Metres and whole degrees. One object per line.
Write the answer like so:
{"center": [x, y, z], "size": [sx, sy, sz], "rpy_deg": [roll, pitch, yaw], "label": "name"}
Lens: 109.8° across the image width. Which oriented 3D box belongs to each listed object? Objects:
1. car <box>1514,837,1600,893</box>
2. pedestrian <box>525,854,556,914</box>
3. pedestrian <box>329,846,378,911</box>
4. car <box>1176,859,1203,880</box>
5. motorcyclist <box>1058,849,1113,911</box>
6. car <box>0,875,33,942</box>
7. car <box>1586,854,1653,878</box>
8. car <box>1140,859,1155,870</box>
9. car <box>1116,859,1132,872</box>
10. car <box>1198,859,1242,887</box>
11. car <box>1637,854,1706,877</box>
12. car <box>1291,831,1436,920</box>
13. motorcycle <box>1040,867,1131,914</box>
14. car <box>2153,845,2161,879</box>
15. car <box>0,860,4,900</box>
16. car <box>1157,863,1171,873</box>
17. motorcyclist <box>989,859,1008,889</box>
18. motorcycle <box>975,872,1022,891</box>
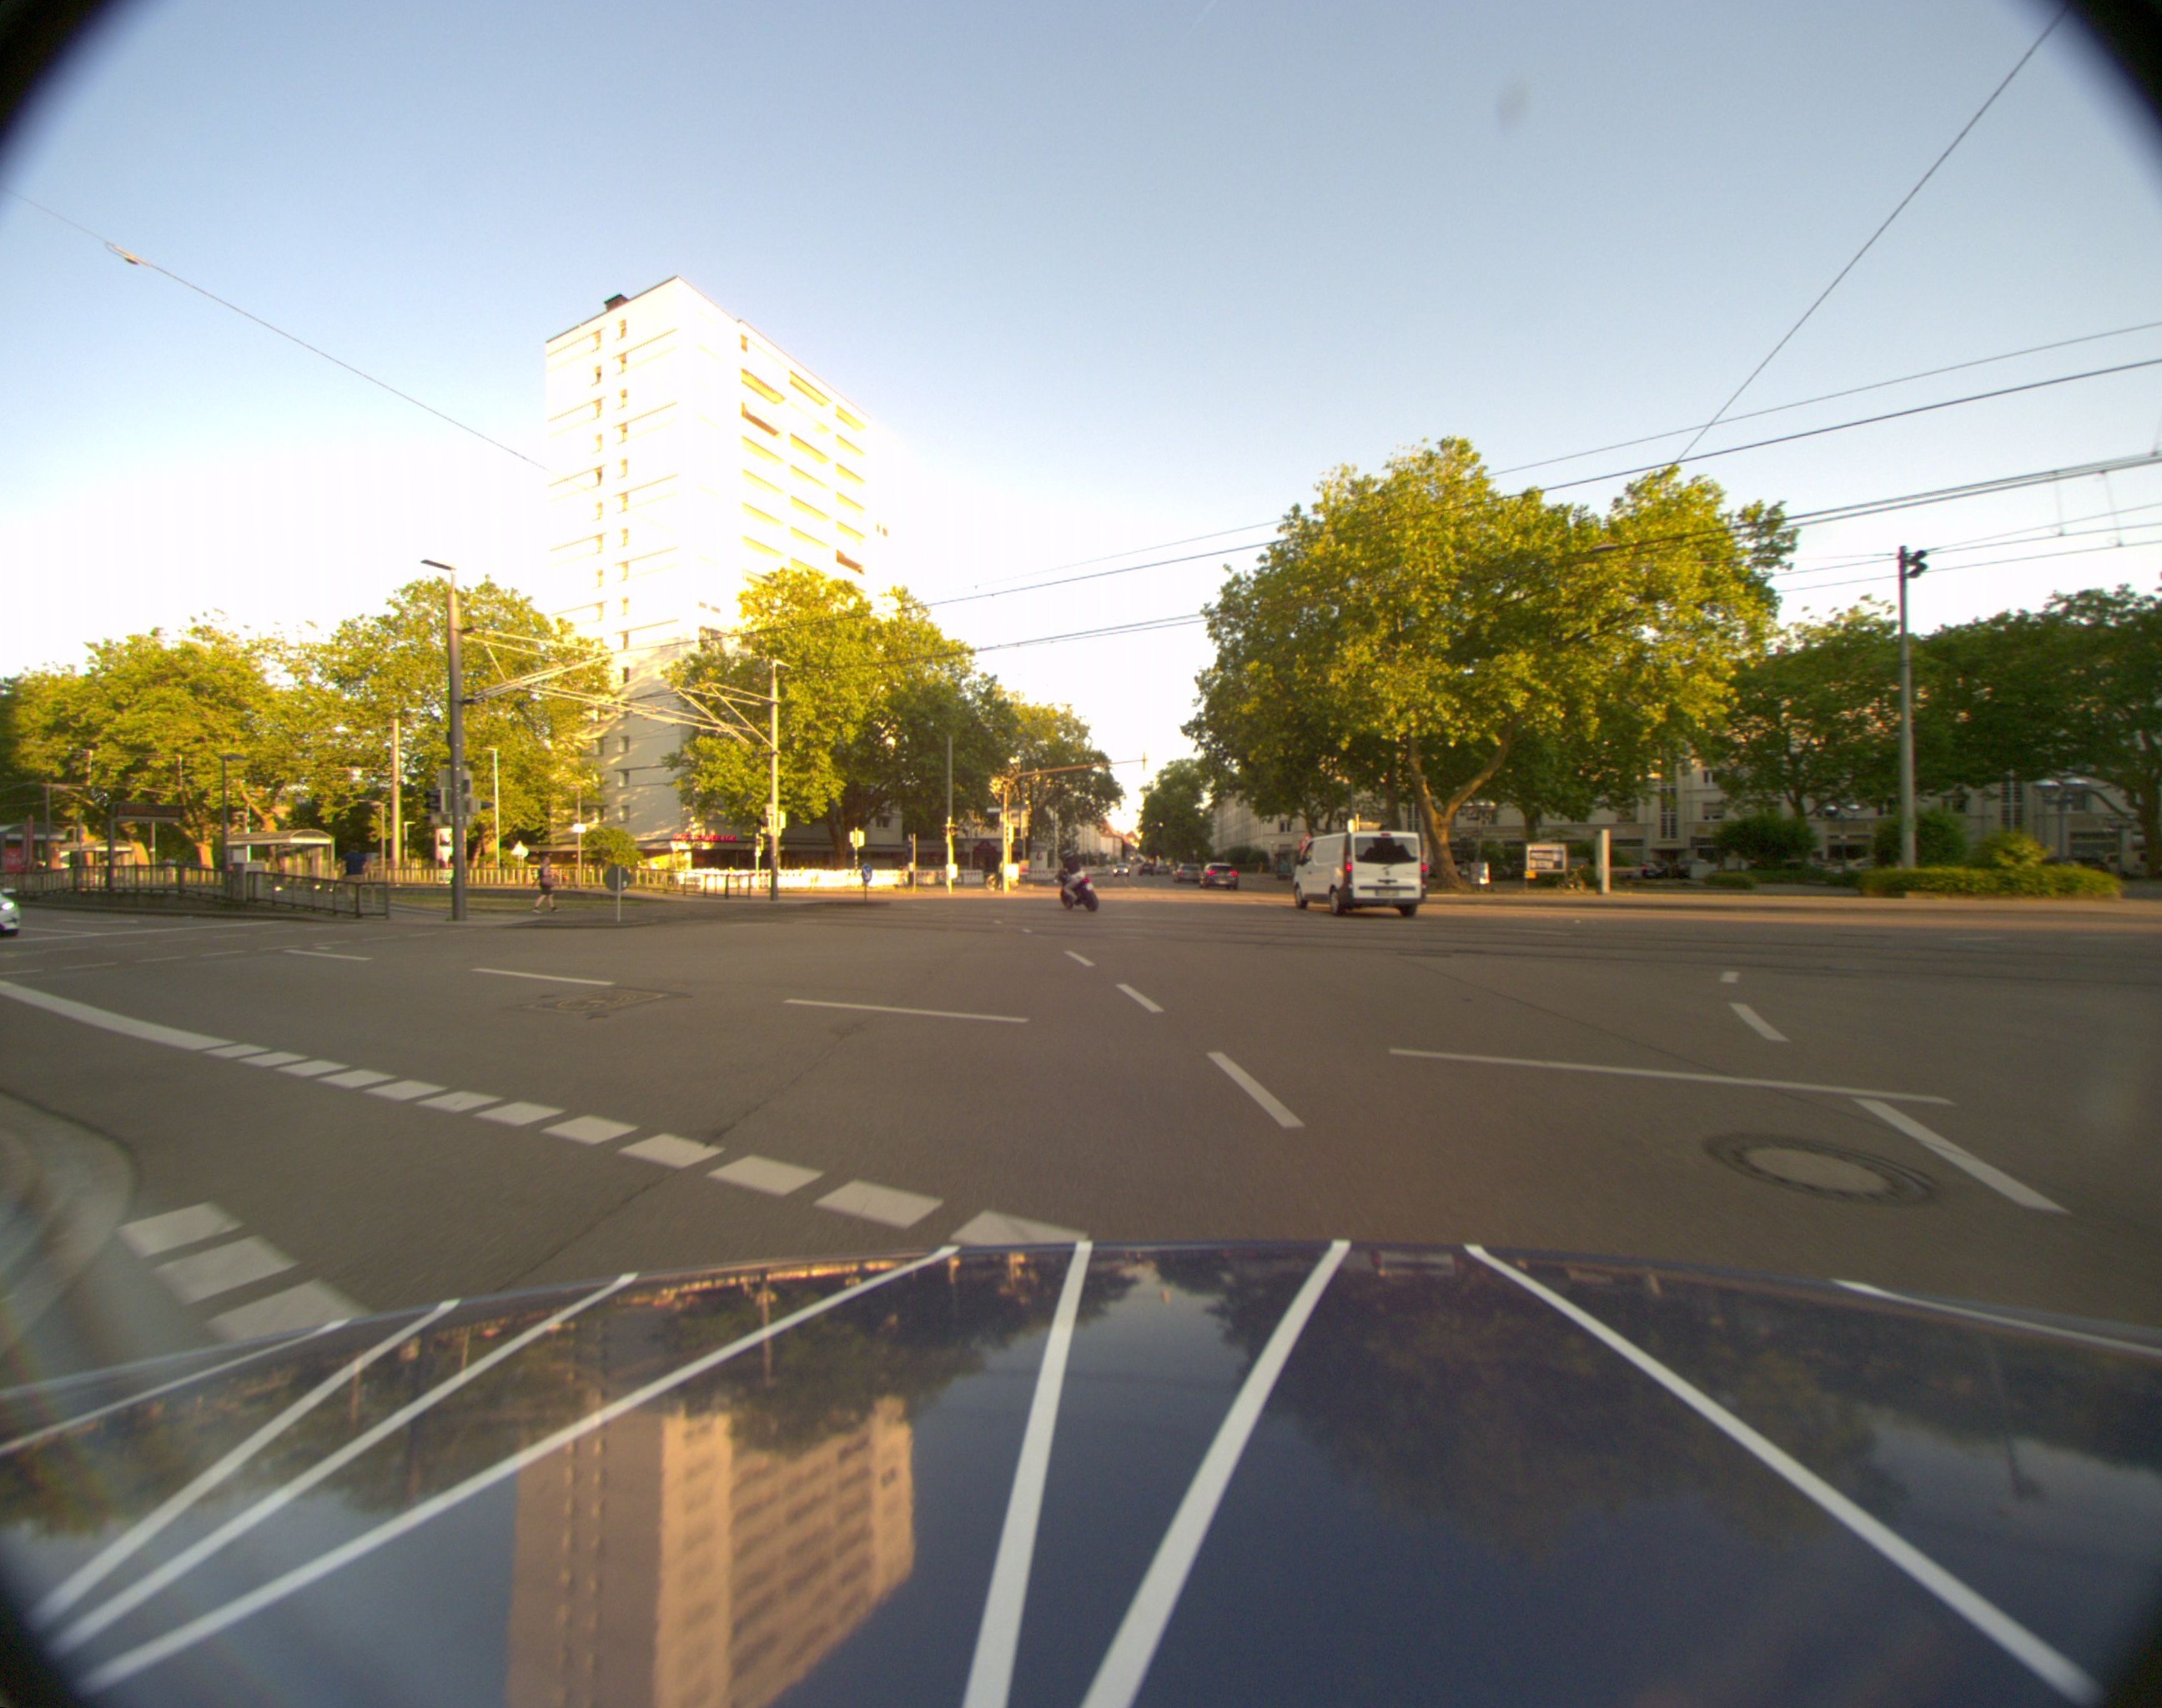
{"center": [18.356, 0.412, 29.480], "size": [1.865, 2.002, 3.815], "rpy_deg": [0, 0, 16], "label": "car"}
{"center": [-15.094, 0.832, 21.216], "size": [0.663, 1.647, 0.542], "rpy_deg": [0, 0, -33], "label": "pedestrian"}
{"center": [-20.621, 0.695, 21.543], "size": [0.710, 1.806, 0.790], "rpy_deg": [0, 0, 25], "label": "pedestrian"}
{"center": [8.377, 1.168, 58.877], "size": [1.794, 1.570, 4.002], "rpy_deg": [0, 0, 5], "label": "car"}
{"center": [0.115, 0.648, 19.545], "size": [0.910, 1.546, 1.154], "rpy_deg": [0, 0, -36], "label": "motorcyclist"}
{"center": [-25.540, 1.210, 16.994], "size": [4.044, 1.455, 1.923], "rpy_deg": [-1, 0, 28], "label": "car"}
{"center": [39.429, 0.879, 55.733], "size": [3.988, 1.696, 2.004], "rpy_deg": [0, 0, 35], "label": "car"}
{"center": [8.874, 1.429, 101.339], "size": [1.839, 1.419, 4.002], "rpy_deg": [0, 0, 5], "label": "car"}
{"center": [5.328, 1.416, 94.138], "size": [1.839, 1.549, 4.002], "rpy_deg": [0, 0, 5], "label": "car"}
{"center": [7.736, 1.033, 42.625], "size": [1.998, 1.450, 4.002], "rpy_deg": [0, 0, 5], "label": "car"}
{"center": [43.886, 0.827, 56.568], "size": [3.988, 1.696, 2.004], "rpy_deg": [0, 0, 35], "label": "car"}
{"center": [6.832, 0.487, 18.958], "size": [1.991, 1.945, 4.596], "rpy_deg": [0, 0, 1], "label": "car"}
{"center": [0.066, 0.902, 19.627], "size": [0.911, 1.123, 2.799], "rpy_deg": [0, 0, -35], "label": "motorcycle"}
{"center": [59.045, 0.431, 39.576], "size": [1.995, 1.826, 4.326], "rpy_deg": [0, 0, 28], "label": "car"}
{"center": [-43.759, 1.031, 29.398], "size": [3.989, 1.538, 1.867], "rpy_deg": [-1, 0, 27], "label": "car"}
{"center": [11.998, 2.026, 109.742], "size": [1.998, 1.419, 4.002], "rpy_deg": [0, 0, 6], "label": "car"}
{"center": [-4.207, 1.011, 38.659], "size": [0.830, 1.510, 0.622], "rpy_deg": [0, 0, -24], "label": "motorcyclist"}
{"center": [-4.192, 1.408, 38.673], "size": [2.288, 0.917, 0.622], "rpy_deg": [0, 0, -24], "label": "motorcycle"}
